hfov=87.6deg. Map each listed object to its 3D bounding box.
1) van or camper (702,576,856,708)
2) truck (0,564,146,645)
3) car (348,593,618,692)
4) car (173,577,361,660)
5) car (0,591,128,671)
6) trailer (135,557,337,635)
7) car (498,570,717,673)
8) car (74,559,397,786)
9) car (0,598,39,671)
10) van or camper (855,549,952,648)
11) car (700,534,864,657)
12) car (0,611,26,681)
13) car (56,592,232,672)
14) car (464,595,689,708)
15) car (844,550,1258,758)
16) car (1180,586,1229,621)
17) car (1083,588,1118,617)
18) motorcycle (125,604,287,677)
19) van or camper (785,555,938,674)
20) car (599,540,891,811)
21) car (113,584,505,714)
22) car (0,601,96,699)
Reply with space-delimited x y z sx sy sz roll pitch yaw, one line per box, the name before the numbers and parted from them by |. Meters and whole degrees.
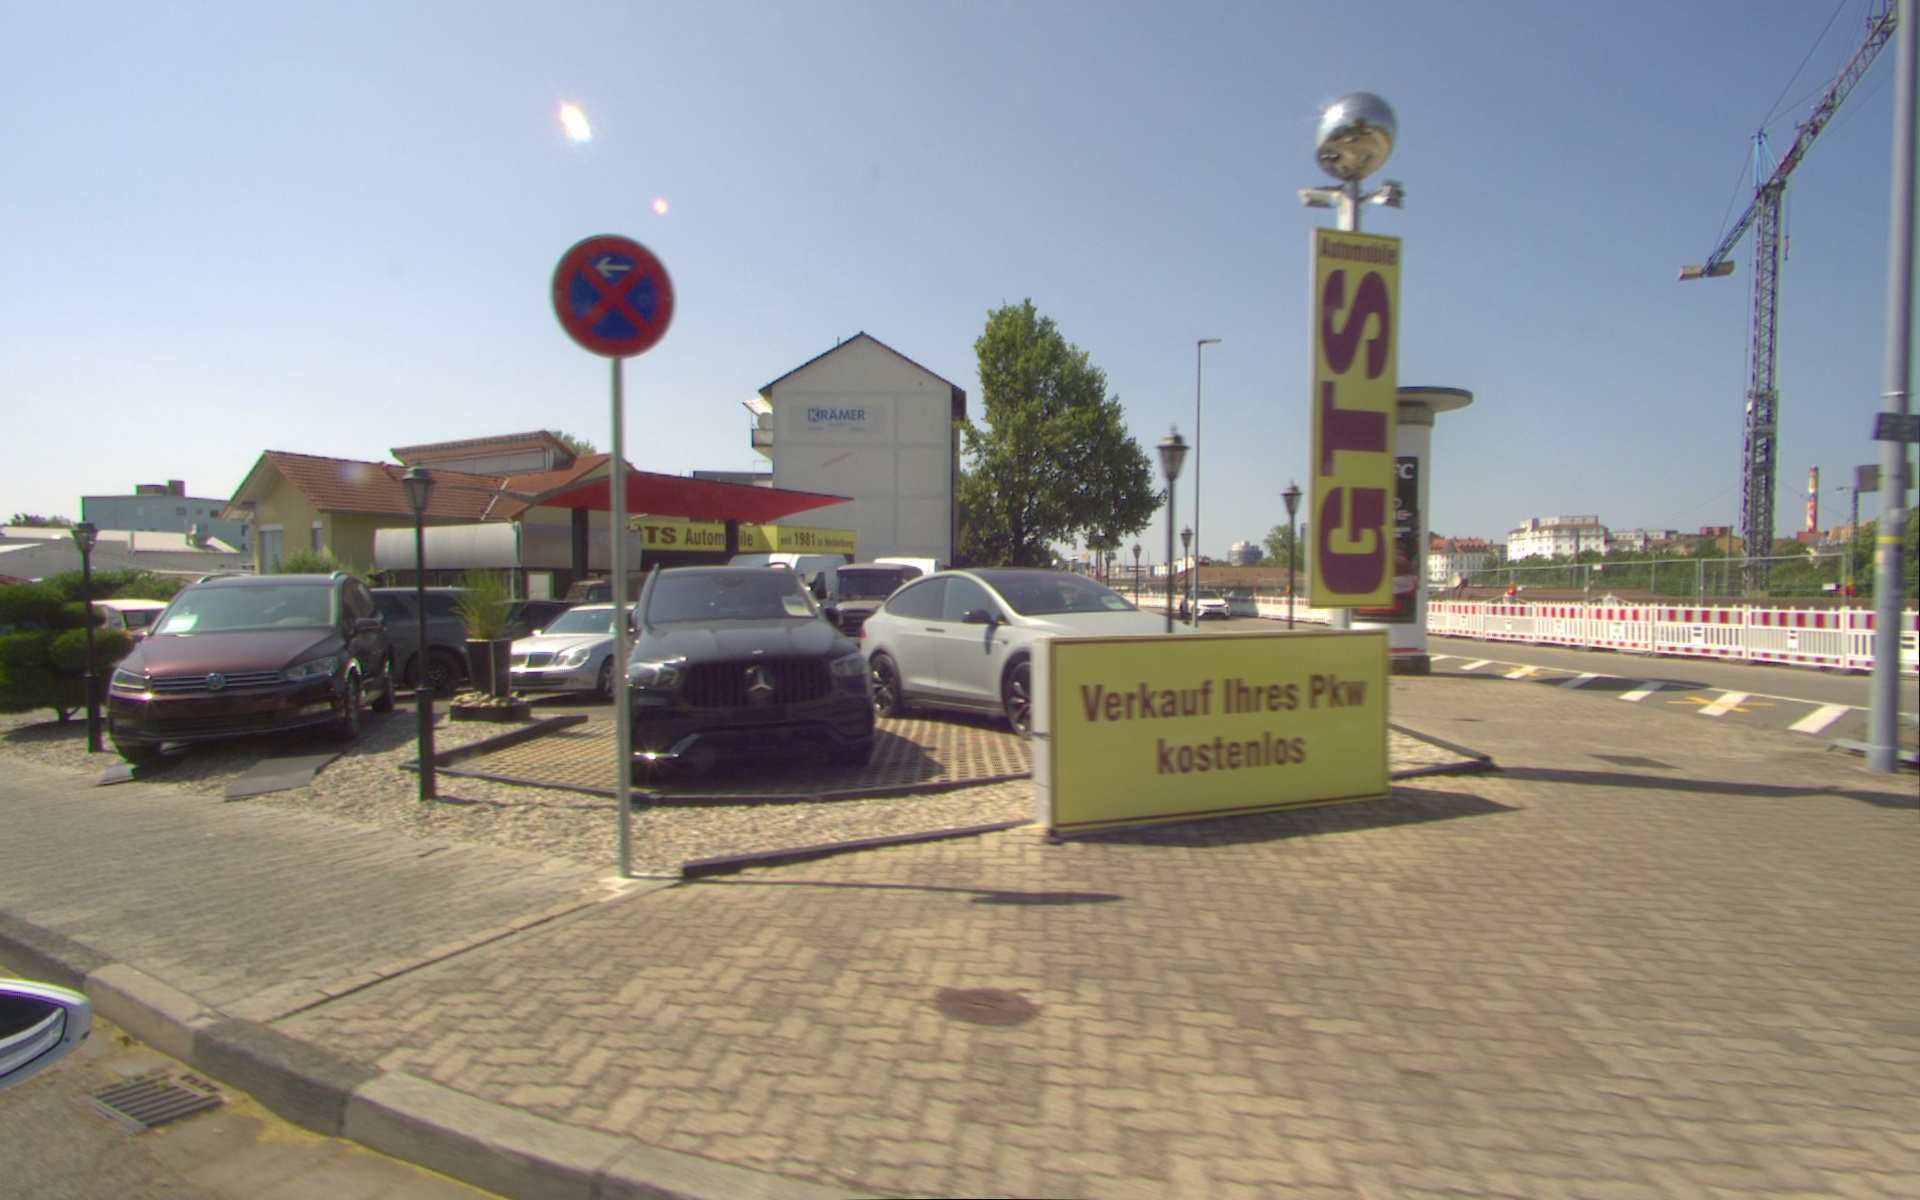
van or camper | -2.592 0.543 15.324 1.961 1.706 4.292 -1 0 -6
truck | -43.867 0.208 47.038 2.912 3.659 8.254 1 1 34
car | -9.400 0.767 19.902 4.521 1.657 1.911 -2 0 -38
car | -18.321 0.450 26.443 4.829 2.041 1.992 0 2 27
car | -23.179 0.765 25.475 3.733 1.884 1.990 -1 -1 31
trailer | -38.847 -0.235 54.086 3.027 3.915 8.304 0 1 36
car | -8.309 0.405 23.865 4.526 2.180 1.908 -2 3 -41
car | -7.066 0.565 10.291 1.823 1.806 4.274 -2 1 -25
car | -21.826 0.833 20.157 1.867 1.518 4.399 -1 2 26
van or camper | -1.451 -0.050 27.666 1.961 2.469 4.933 0 1 5
car | -4.312 -0.205 25.531 2.216 2.715 6.012 -1 2 9
car | -19.937 0.931 18.541 1.535 1.353 3.543 0 1 30
car | -19.402 0.702 23.784 3.941 1.751 1.990 0 1 31
car | -5.921 0.714 16.073 1.888 1.554 4.207 -1 0 1
car | 0.676 0.444 10.810 1.989 1.715 4.789 -1 0 -32
car | 12.247 0.181 50.284 1.961 1.662 3.998 -1 0 8
car | 8.254 0.136 58.808 1.961 1.662 3.998 -1 0 8
motorcycle | -16.392 0.837 21.882 0.993 1.452 2.684 0 1 21
van or camper | -1.977 0.288 22.089 2.071 2.291 5.504 0 0 9
car | -2.242 0.493 9.262 1.982 1.803 4.805 -1 0 -19
car | -10.090 0.655 15.953 4.929 1.786 1.913 -1 1 -33
car | -17.407 0.875 16.982 1.733 1.646 3.796 0 1 30
